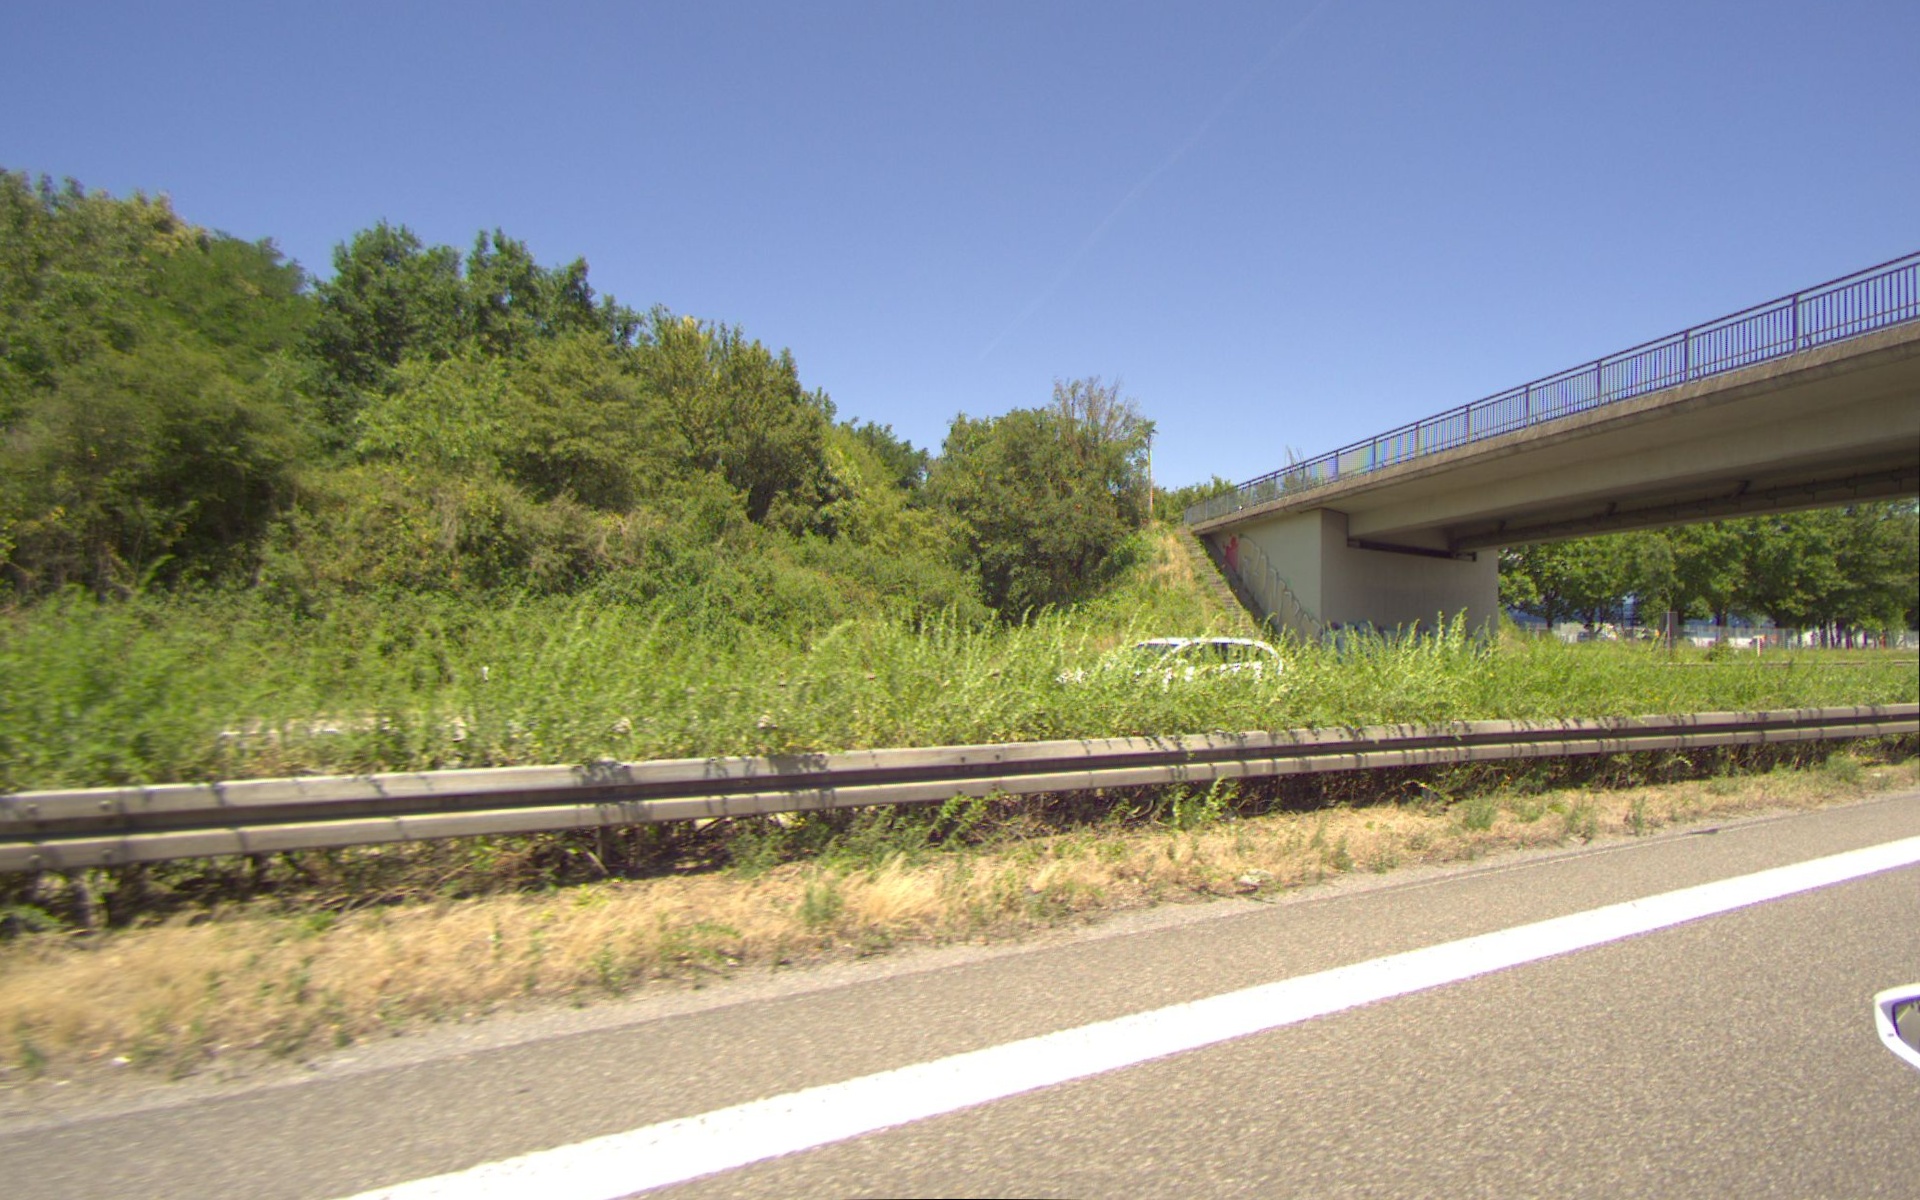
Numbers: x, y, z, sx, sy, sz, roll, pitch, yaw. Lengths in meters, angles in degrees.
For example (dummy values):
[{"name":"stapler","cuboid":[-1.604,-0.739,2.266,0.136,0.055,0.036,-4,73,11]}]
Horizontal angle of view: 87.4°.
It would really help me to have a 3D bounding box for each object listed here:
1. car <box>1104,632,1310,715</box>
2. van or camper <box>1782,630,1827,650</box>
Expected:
[{"name":"car","cuboid":[4.440,1.275,17.949,3.542,1.269,1.388,2,1,-29]},{"name":"van or camper","cuboid":[116.152,5.499,138.144,7.635,2.585,2.346,2,-2,-31]}]
